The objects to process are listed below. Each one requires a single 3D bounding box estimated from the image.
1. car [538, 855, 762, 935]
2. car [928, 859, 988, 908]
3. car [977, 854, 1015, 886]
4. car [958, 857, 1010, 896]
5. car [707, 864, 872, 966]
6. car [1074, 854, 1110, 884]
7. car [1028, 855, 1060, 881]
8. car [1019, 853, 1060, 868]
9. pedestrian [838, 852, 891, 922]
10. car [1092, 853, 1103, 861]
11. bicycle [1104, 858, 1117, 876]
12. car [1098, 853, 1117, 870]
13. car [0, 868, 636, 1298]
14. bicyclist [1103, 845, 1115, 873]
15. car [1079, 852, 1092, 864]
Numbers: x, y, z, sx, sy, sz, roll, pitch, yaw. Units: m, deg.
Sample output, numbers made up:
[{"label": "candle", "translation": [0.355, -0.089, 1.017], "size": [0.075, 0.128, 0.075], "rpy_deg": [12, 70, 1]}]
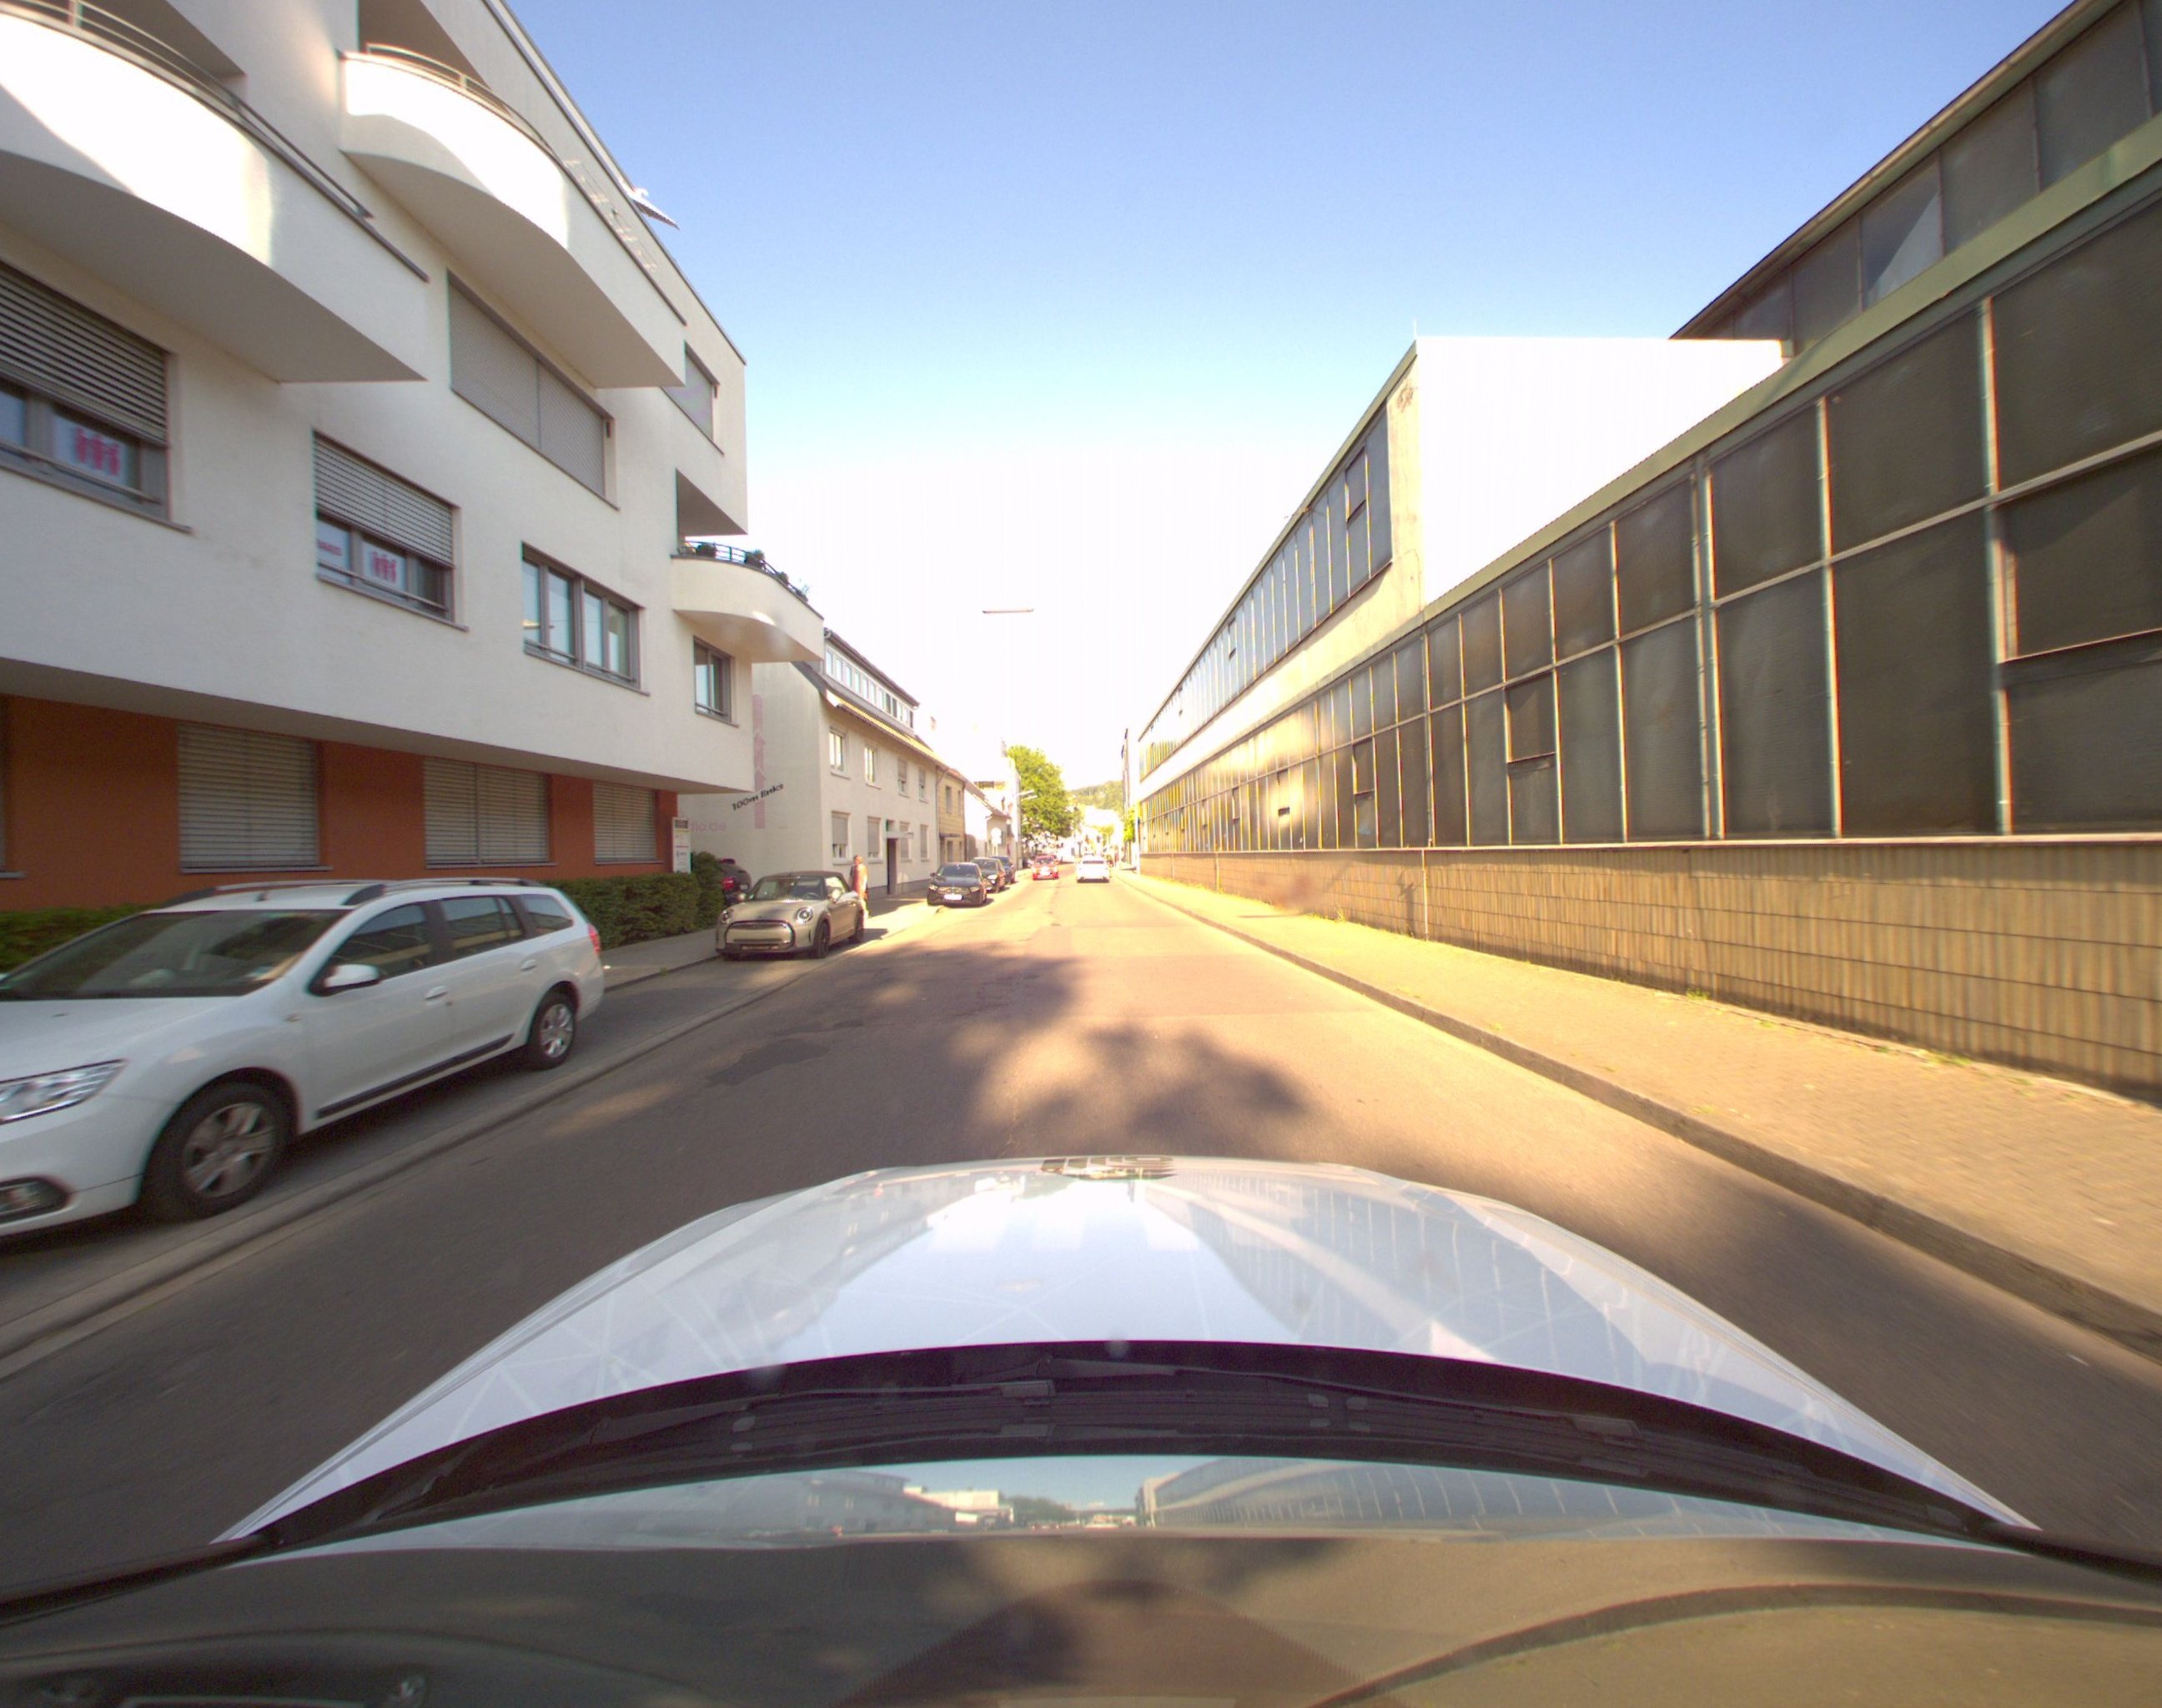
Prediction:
[{"label": "car", "translation": [-11.047, 1.013, 21.157], "size": [4.595, 1.638, 2.012], "rpy_deg": [-4, 1, -3]}, {"label": "car", "translation": [-4.096, 0.938, 27.775], "size": [1.681, 1.535, 4.328], "rpy_deg": [-1, 0, -4]}, {"label": "car", "translation": [-4.800, 0.879, 46.520], "size": [1.803, 1.587, 4.192], "rpy_deg": [-1, 2, -1]}, {"label": "car", "translation": [-4.444, 0.973, 37.759], "size": [1.852, 1.587, 4.335], "rpy_deg": [-1, 1, 0]}, {"label": "car", "translation": [-5.061, 0.976, 14.708], "size": [1.663, 1.536, 3.854], "rpy_deg": [-1, 0, -2]}, {"label": "car", "translation": [0.563, 0.804, 45.300], "size": [1.837, 1.491, 4.141], "rpy_deg": [-2, 0, -2]}, {"label": "car", "translation": [-2.315, 0.841, 51.382], "size": [1.837, 1.491, 4.142], "rpy_deg": [-2, 0, -1]}, {"label": "car", "translation": [-4.495, 0.728, 88.347], "size": [4.110, 1.491, 1.851], "rpy_deg": [-2, 0, 5]}, {"label": "pedestrian", "translation": [-5.793, 0.853, 21.844], "size": [0.854, 1.818, 1.138], "rpy_deg": [1, 1, 23]}, {"label": "car", "translation": [2.982, 0.533, 145.843], "size": [1.835, 1.491, 4.145], "rpy_deg": [-2, 0, 2]}, {"label": "bicycle", "translation": [1.884, 0.828, 52.265], "size": [0.696, 1.130, 2.403], "rpy_deg": [-2, 0, 1]}, {"label": "car", "translation": [2.760, 0.728, 84.599], "size": [1.625, 1.587, 4.067], "rpy_deg": [-5, 0, -1]}, {"label": "car", "translation": [-5.004, 0.927, 5.358], "size": [1.854, 1.587, 4.614], "rpy_deg": [-1, 0, -4]}, {"label": "bicyclist", "translation": [1.809, 0.329, 52.254], "size": [0.696, 1.790, 1.041], "rpy_deg": [-2, 0, 0]}, {"label": "car", "translation": [0.670, 0.625, 124.520], "size": [1.849, 1.791, 4.603], "rpy_deg": [-2, 0, -3]}]
